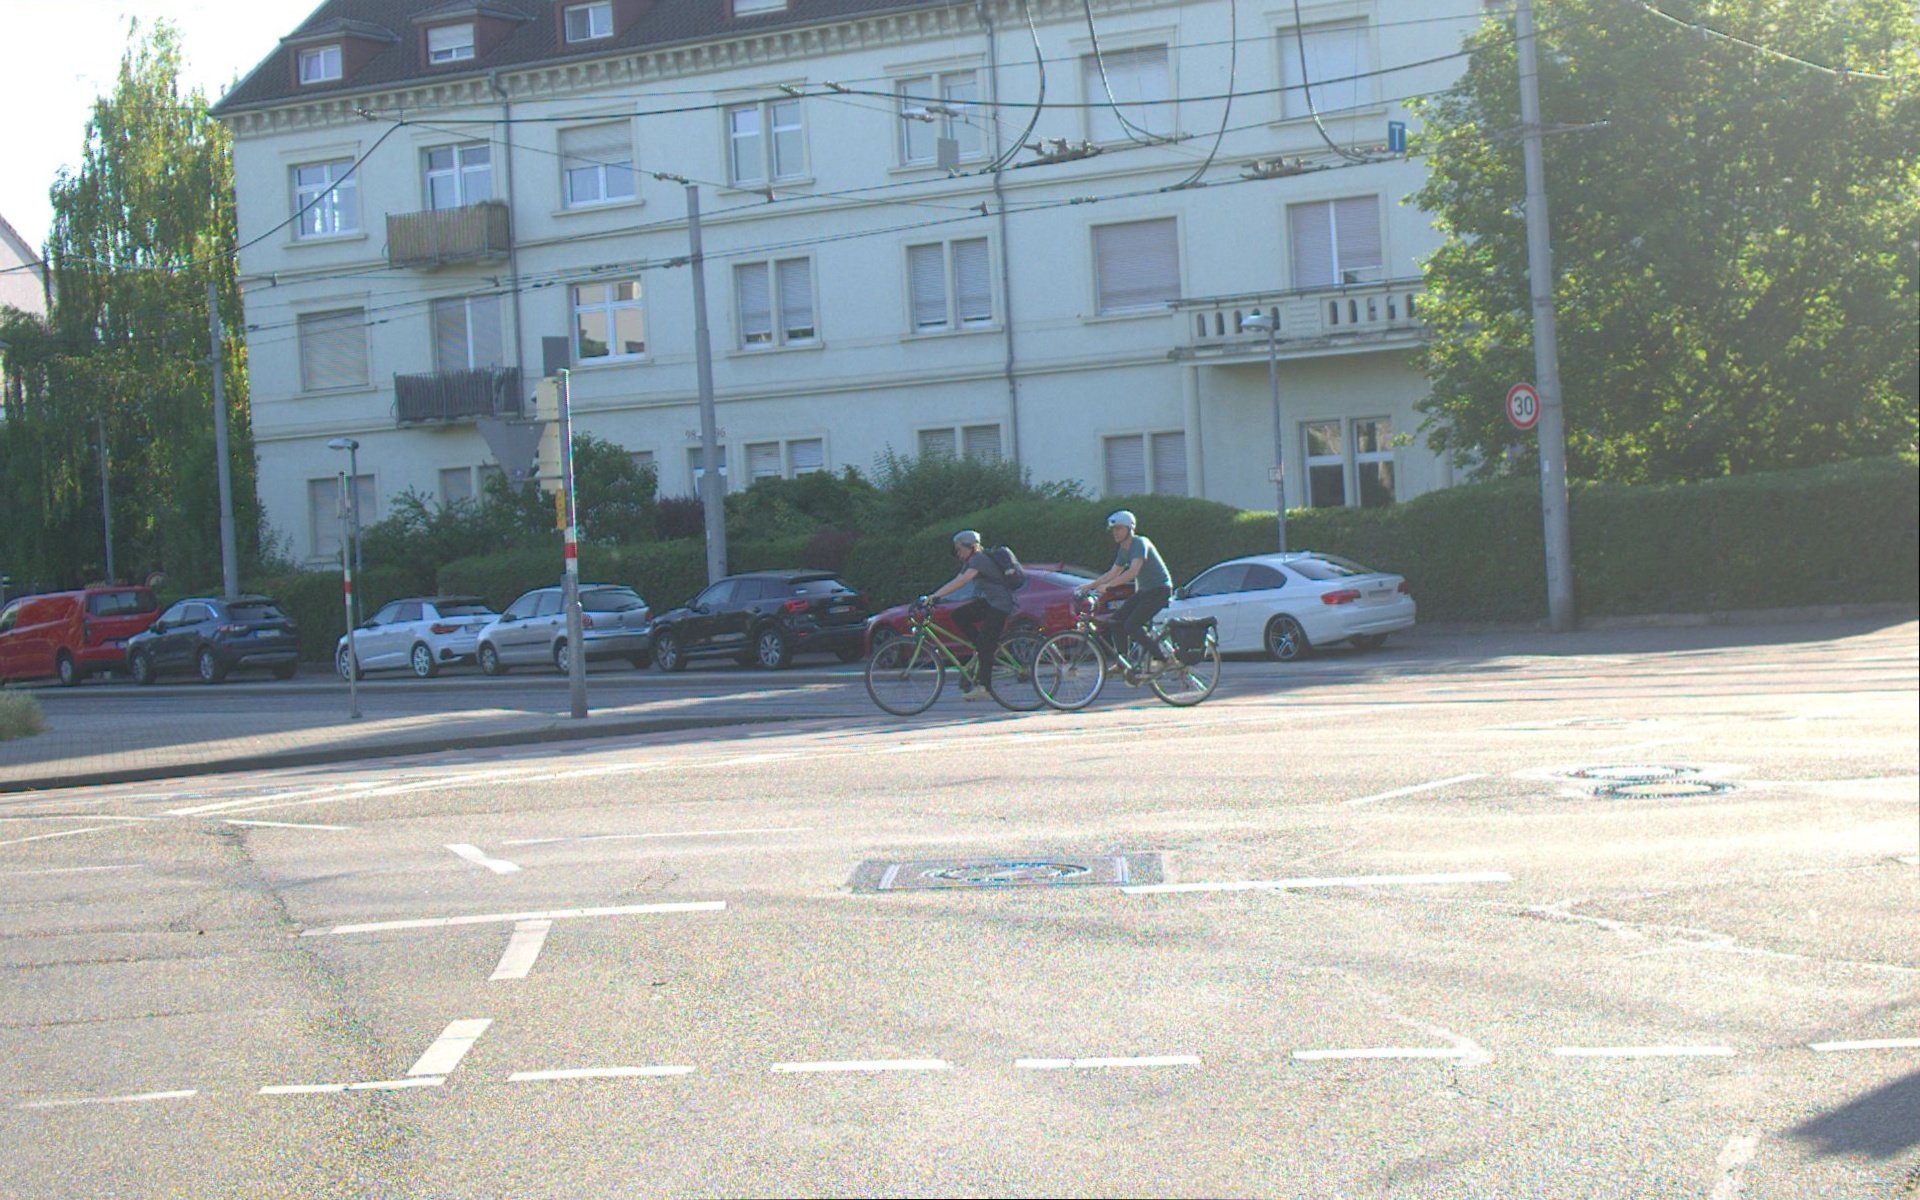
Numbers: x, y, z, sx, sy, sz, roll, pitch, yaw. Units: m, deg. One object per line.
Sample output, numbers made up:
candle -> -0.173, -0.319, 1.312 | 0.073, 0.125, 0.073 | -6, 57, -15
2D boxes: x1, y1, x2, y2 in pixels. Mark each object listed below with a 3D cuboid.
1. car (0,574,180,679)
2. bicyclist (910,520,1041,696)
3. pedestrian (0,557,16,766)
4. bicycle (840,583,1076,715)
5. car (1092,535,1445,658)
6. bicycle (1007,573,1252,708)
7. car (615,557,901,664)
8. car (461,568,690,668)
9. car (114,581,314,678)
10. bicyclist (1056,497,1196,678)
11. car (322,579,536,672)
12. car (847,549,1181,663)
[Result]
car -> -18.650, 0.579, 72.256 | 2.051, 1.955, 5.148 | -7, 3, -41
bicyclist -> 0.137, 0.068, 31.233 | 1.034, 1.526, 0.661 | -3, 1, -8
pedestrian -> -9.329, 0.589, 31.670 | 0.911, 1.918, 1.068 | -3, 1, -4
bicycle -> -0.023, 0.437, 31.195 | 2.012, 1.065, 0.664 | -3, 1, -8
car -> 4.088, -0.026, 46.132 | 1.926, 1.371, 4.494 | -7, 3, -42
bicycle -> 1.491, 0.351, 30.331 | 2.012, 1.065, 0.664 | -3, 1, -11
car -> -3.263, 0.188, 54.638 | 1.982, 1.442, 4.703 | -7, 3, -41
car -> -6.498, 0.322, 57.884 | 1.982, 1.442, 3.717 | -7, 3, -41
car -> -14.614, 0.597, 67.216 | 1.840, 1.662, 4.368 | -7, 3, -41
bicyclist -> 1.464, -0.113, 30.404 | 1.034, 1.526, 0.698 | -3, 1, -10
car -> -9.511, 0.465, 61.379 | 1.840, 1.442, 3.957 | -7, 3, -41
car -> 0.748, 0.101, 50.128 | 4.702, 1.371, 1.982 | -2, 3, 44
